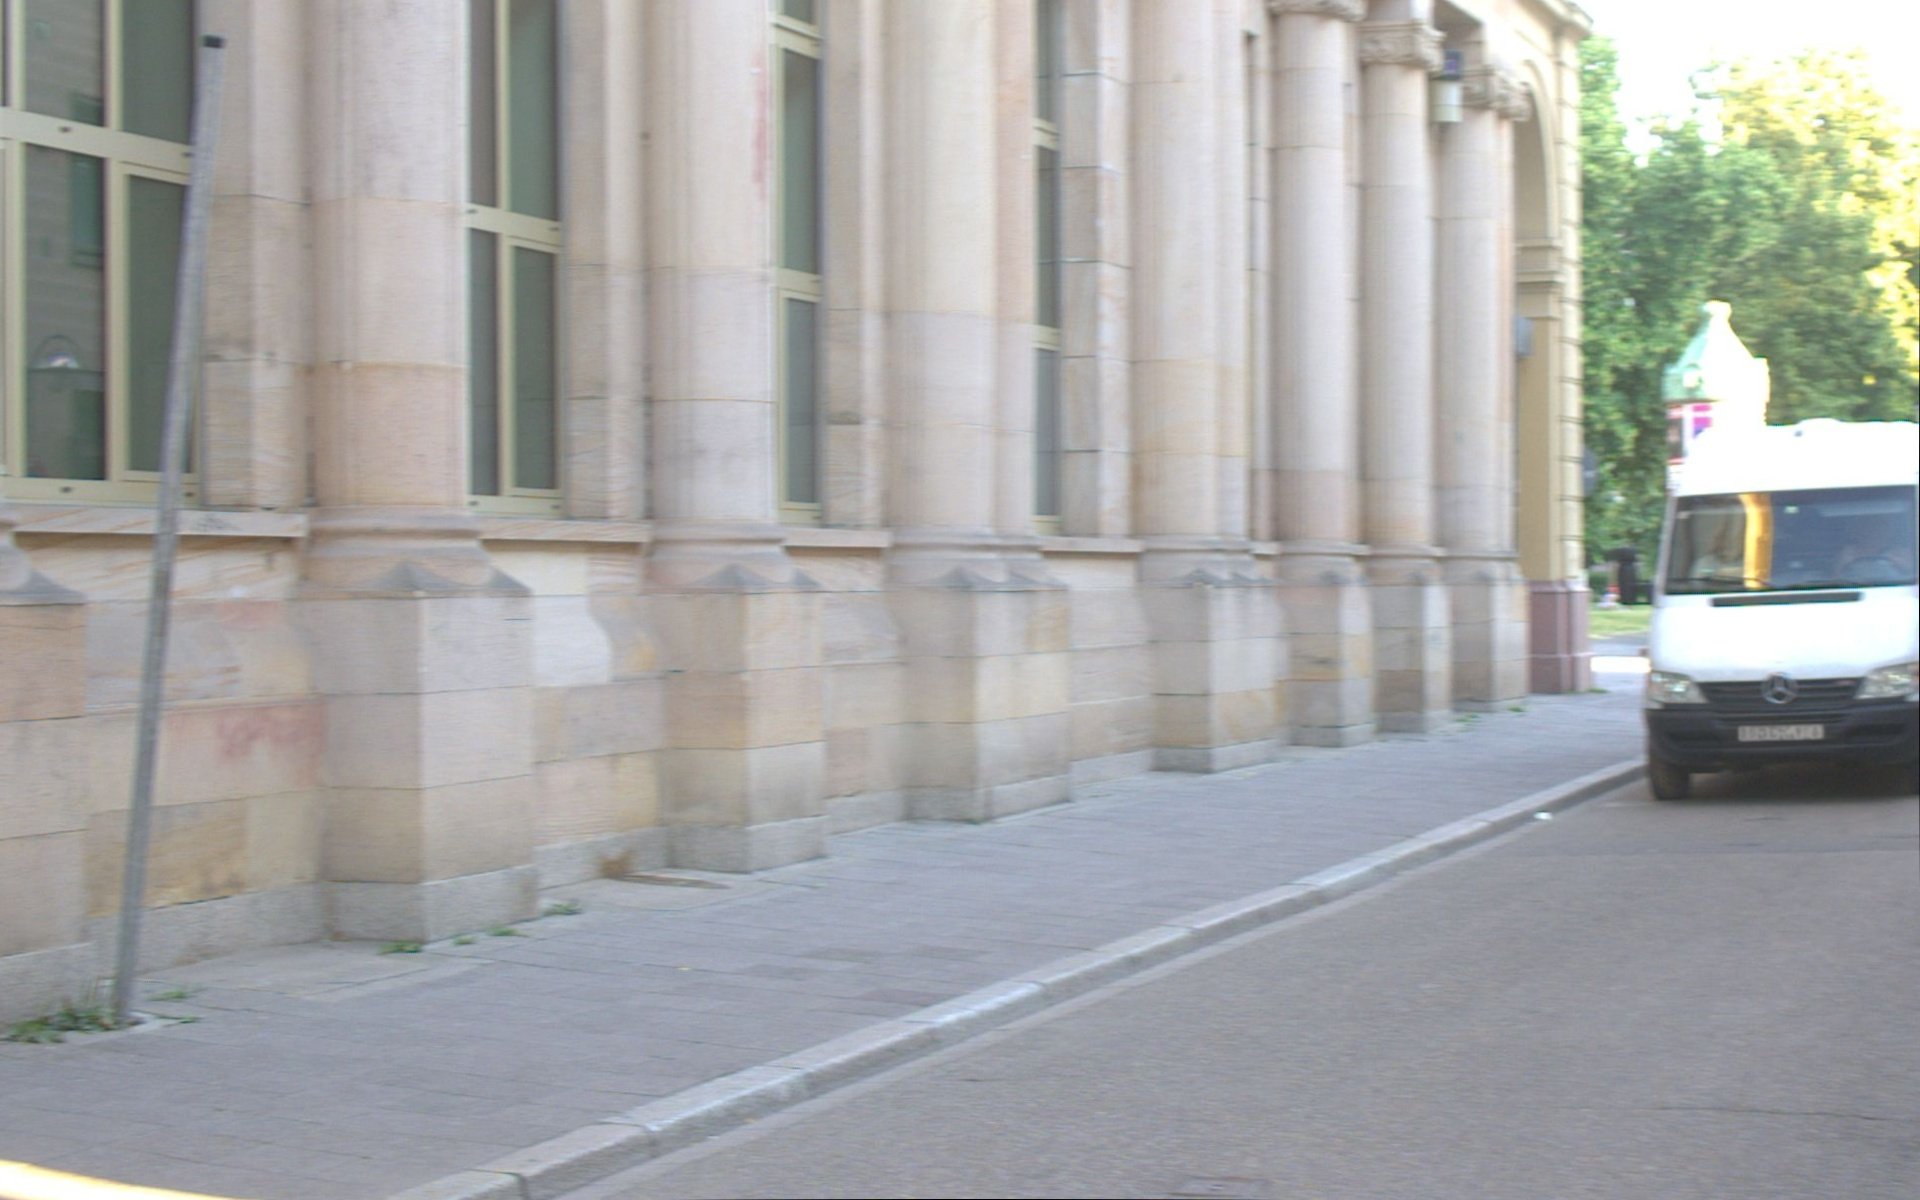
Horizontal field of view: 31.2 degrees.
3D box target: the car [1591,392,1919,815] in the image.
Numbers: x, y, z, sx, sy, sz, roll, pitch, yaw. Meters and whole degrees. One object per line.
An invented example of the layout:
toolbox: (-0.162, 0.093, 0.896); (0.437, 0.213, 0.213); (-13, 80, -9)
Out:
car: (6.116, -0.004, 24.316); (1.998, 2.504, 6.463); (-4, -1, 21)
